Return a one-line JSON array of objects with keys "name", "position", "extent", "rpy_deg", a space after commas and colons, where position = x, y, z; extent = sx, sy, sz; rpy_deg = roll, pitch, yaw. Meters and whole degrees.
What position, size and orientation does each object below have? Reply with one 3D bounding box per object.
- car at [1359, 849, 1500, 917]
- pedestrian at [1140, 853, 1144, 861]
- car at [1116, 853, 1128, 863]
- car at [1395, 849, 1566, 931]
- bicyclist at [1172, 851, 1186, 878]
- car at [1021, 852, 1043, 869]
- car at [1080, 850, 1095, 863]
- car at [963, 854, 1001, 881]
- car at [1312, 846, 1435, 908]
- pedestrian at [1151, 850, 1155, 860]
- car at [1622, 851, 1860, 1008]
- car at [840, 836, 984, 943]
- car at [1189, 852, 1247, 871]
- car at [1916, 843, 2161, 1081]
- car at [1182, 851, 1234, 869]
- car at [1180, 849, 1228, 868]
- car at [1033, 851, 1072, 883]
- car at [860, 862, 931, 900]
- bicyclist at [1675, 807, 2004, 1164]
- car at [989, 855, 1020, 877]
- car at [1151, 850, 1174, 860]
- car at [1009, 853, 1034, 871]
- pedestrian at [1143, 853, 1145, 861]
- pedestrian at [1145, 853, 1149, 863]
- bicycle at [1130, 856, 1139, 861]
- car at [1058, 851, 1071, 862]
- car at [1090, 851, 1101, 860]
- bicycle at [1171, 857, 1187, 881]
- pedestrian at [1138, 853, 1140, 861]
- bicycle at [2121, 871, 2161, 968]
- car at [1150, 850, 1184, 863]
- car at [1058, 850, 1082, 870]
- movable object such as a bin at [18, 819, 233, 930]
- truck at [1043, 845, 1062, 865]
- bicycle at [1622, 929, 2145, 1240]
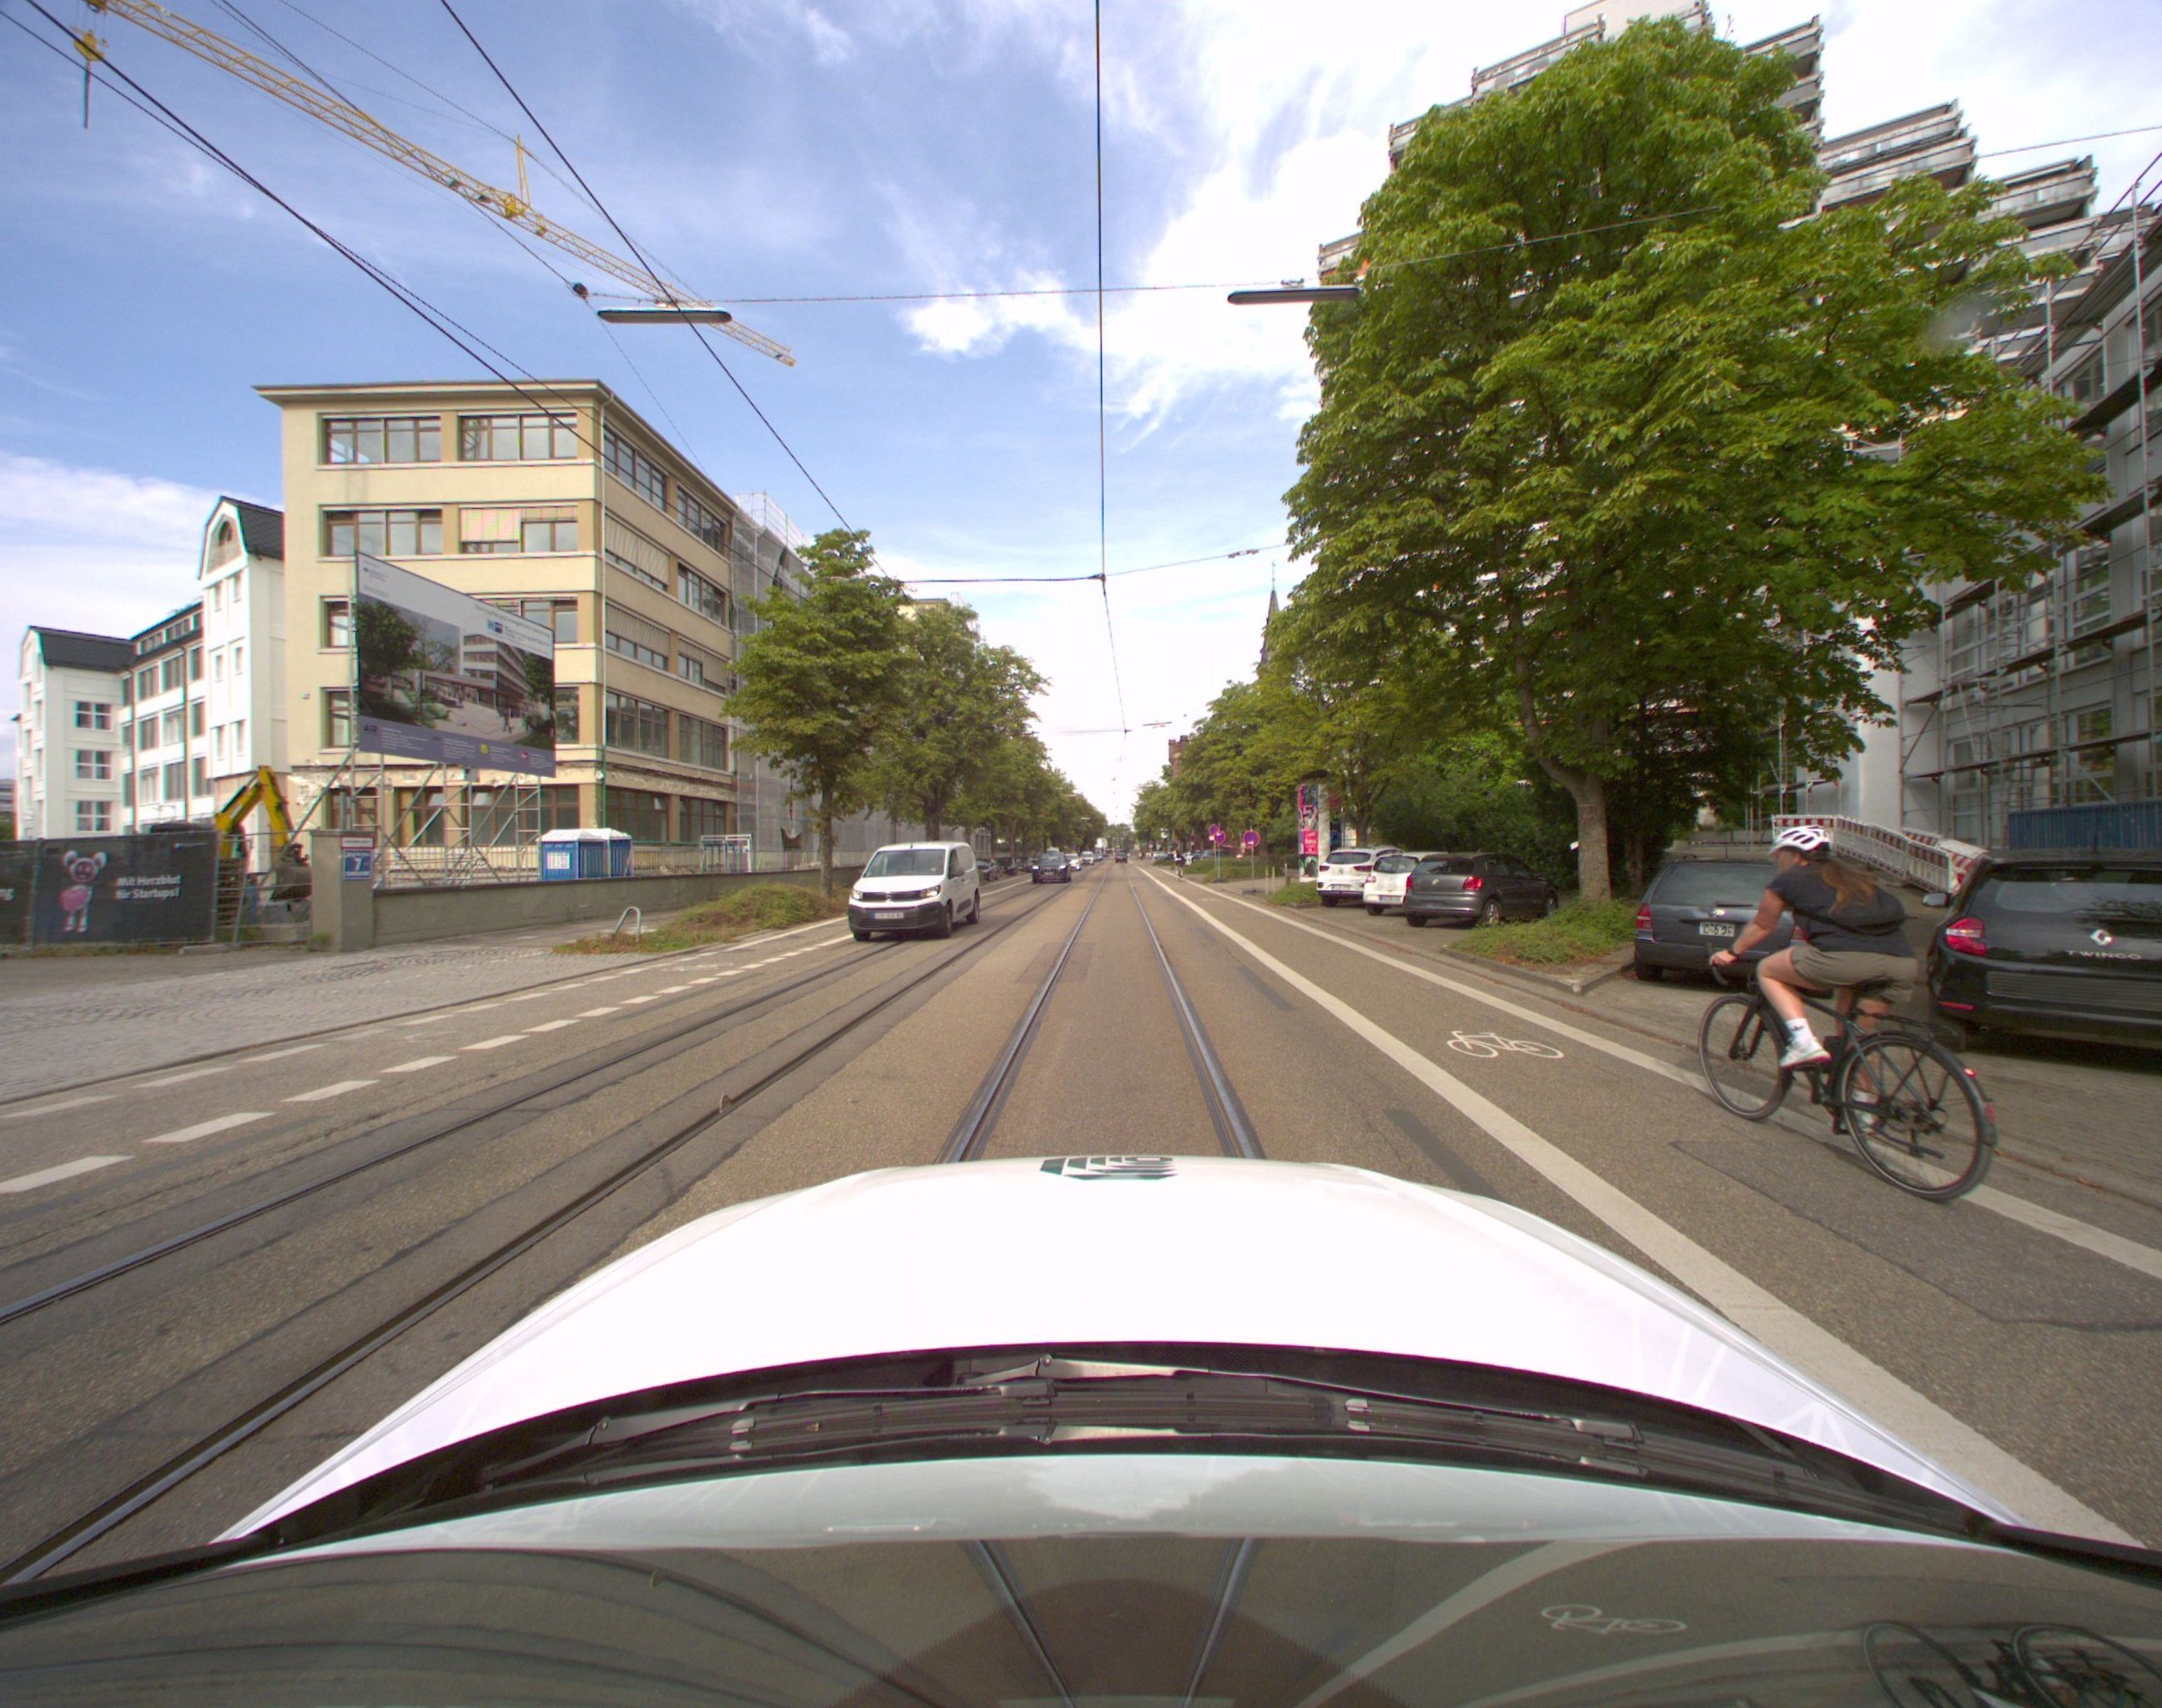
[{"name": "car", "position": [8.277, 0.618, 19.261], "extent": [3.463, 1.442, 1.543], "rpy_deg": [-1, 0, -37]}, {"name": "pedestrian", "position": [12.554, 0.640, 166.616], "extent": [0.721, 1.646, 0.769], "rpy_deg": [0, 0, 12]}, {"name": "car", "position": [6.063, 0.640, 121.376], "extent": [1.786, 1.423, 4.002], "rpy_deg": [0, 0, 2]}, {"name": "car", "position": [7.994, 0.638, 16.216], "extent": [3.551, 1.442, 1.606], "rpy_deg": [-1, 0, -37]}, {"name": "bicyclist", "position": [5.398, 0.561, 44.929], "extent": [0.655, 1.463, 1.179], "rpy_deg": [0, 0, 1]}, {"name": "car", "position": [-4.905, 0.645, 81.978], "extent": [1.795, 1.583, 4.033], "rpy_deg": [-2, 0, 2]}, {"name": "car", "position": [0.855, 0.319, 105.394], "extent": [1.795, 1.622, 4.486], "rpy_deg": [-2, 0, 2]}, {"name": "car", "position": [-6.271, 0.825, 52.059], "extent": [1.795, 1.583, 4.033], "rpy_deg": [-2, 0, 2]}, {"name": "car", "position": [8.066, 0.567, 22.371], "extent": [3.463, 1.573, 1.543], "rpy_deg": [-1, 0, -37]}, {"name": "pedestrian", "position": [12.095, 0.167, 136.473], "extent": [0.723, 1.646, 0.767], "rpy_deg": [0, 0, 4]}, {"name": "car", "position": [7.765, 0.704, 9.460], "extent": [3.760, 1.458, 1.620], "rpy_deg": [0, 0, -43]}, {"name": "car", "position": [-3.222, 0.629, 16.511], "extent": [1.795, 1.823, 4.486], "rpy_deg": [-2, 0, 2]}, {"name": "car", "position": [10.222, 0.544, 60.958], "extent": [3.975, 1.425, 1.884], "rpy_deg": [-1, 0, -1]}, {"name": "car", "position": [8.089, 0.690, 6.687], "extent": [3.760, 1.522, 1.620], "rpy_deg": [0, 0, -43]}, {"name": "car", "position": [10.543, 0.504, 67.857], "extent": [3.975, 1.425, 1.884], "rpy_deg": [-1, 0, -1]}, {"name": "car", "position": [11.019, 0.371, 73.252], "extent": [3.975, 1.627, 1.884], "rpy_deg": [-1, 0, -1]}, {"name": "car", "position": [-1.502, 0.682, 44.283], "extent": [1.795, 1.622, 4.486], "rpy_deg": [-2, 0, 2]}, {"name": "car", "position": [-7.369, 1.041, 32.754], "extent": [1.795, 1.374, 4.033], "rpy_deg": [-2, 0, 2]}, {"name": "bicyclist", "position": [3.765, 0.576, 4.160], "extent": [0.636, 1.570, 1.110], "rpy_deg": [-1, 0, 0]}, {"name": "car", "position": [-5.867, 0.867, 62.792], "extent": [1.795, 1.583, 4.033], "rpy_deg": [-2, 0, 2]}, {"name": "car", "position": [14.548, 0.173, 145.034], "extent": [3.975, 1.910, 1.999], "rpy_deg": [0, 0, -1]}, {"name": "car", "position": [-5.279, 0.690, 73.021], "extent": [1.795, 1.583, 4.033], "rpy_deg": [-2, 0, 2]}, {"name": "pedestrian", "position": [16.059, 0.837, 207.135], "extent": [0.515, 2.013, 0.480], "rpy_deg": [0, 0, 6]}, {"name": "pedestrian", "position": [11.817, 0.699, 145.415], "extent": [0.723, 1.646, 0.767], "rpy_deg": [0, 0, 4]}, {"name": "bicycle", "position": [11.056, 0.955, 167.162], "extent": [1.709, 0.991, 0.660], "rpy_deg": [0, 0, 11]}, {"name": "car", "position": [-2.663, 0.392, 132.148], "extent": [1.795, 1.583, 4.033], "rpy_deg": [-2, 0, 2]}, {"name": "car", "position": [2.516, 0.239, 143.470], "extent": [1.795, 1.622, 4.486], "rpy_deg": [-2, 0, 2]}, {"name": "bicycle", "position": [5.382, 0.797, 44.910], "extent": [0.655, 1.249, 2.125], "rpy_deg": [0, 0, 1]}, {"name": "pedestrian", "position": [14.489, 0.850, 204.029], "extent": [0.515, 2.013, 0.480], "rpy_deg": [0, 0, 6]}, {"name": "bicycle", "position": [13.615, 0.744, 9.358], "extent": [1.947, 1.128, 0.542], "rpy_deg": [-2, -1, 32]}, {"name": "car", "position": [10.416, 0.274, 98.932], "extent": [3.975, 1.508, 1.884], "rpy_deg": [-1, 0, -1]}, {"name": "car", "position": [-0.929, 0.534, 71.872], "extent": [1.795, 1.622, 4.486], "rpy_deg": [-2, 0, 2]}, {"name": "movable object such as a bin", "position": [-18.973, 0.393, 16.270], "extent": [1.977, 2.067, 1.963], "rpy_deg": [-1, 0, 4]}, {"name": "truck", "position": [-3.675, 0.087, 106.403], "extent": [2.063, 2.470, 4.901], "rpy_deg": [-2, 0, 2]}, {"name": "bicycle", "position": [3.775, 0.981, 4.167], "extent": [0.636, 0.980, 2.071], "rpy_deg": [-1, 0, 0]}]
